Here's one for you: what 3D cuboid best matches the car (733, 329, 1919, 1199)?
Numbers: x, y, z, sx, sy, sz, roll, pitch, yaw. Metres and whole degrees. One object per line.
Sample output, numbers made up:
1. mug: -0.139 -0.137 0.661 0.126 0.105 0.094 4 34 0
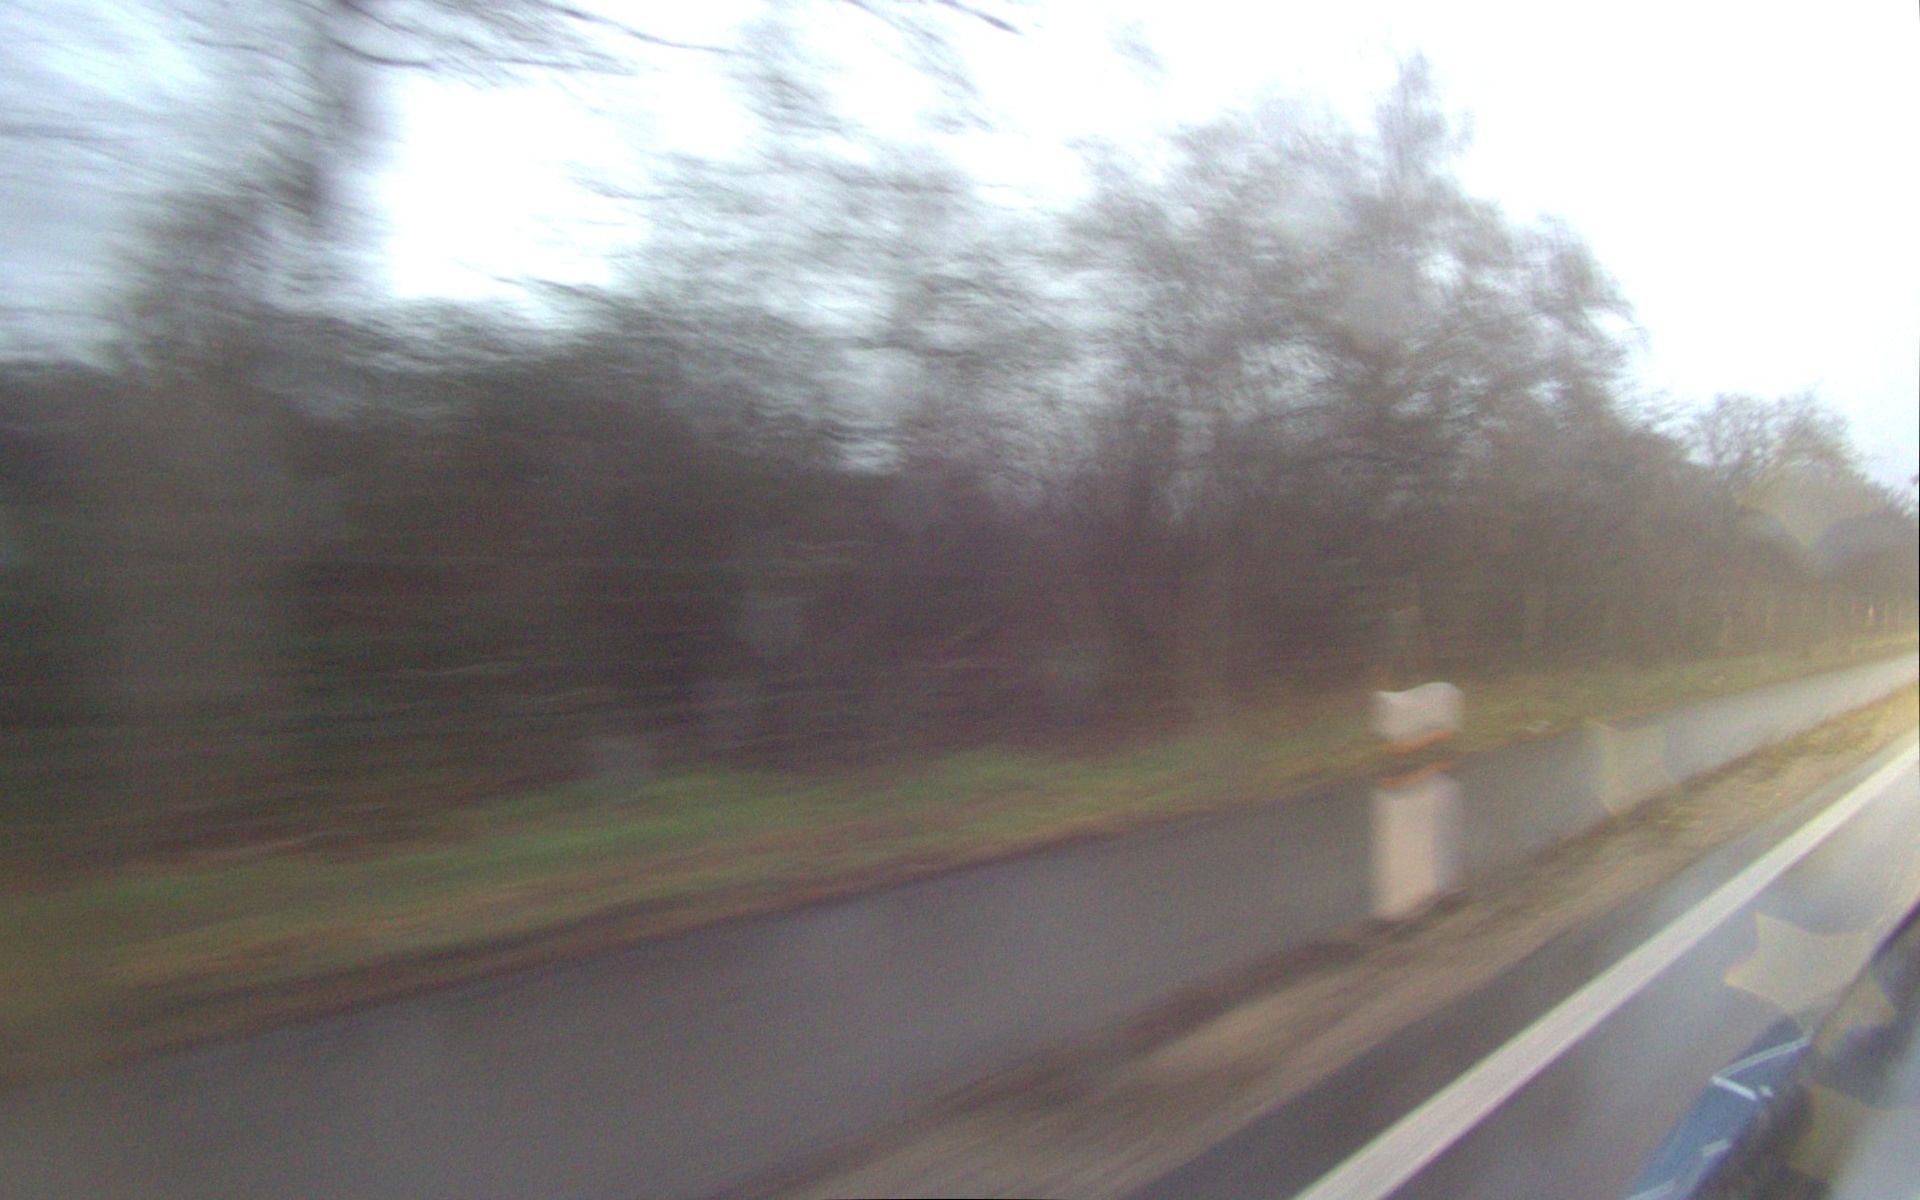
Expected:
1. car: 1.504 0.536 3.228 3.930 1.772 1.932 -1 1 -41
